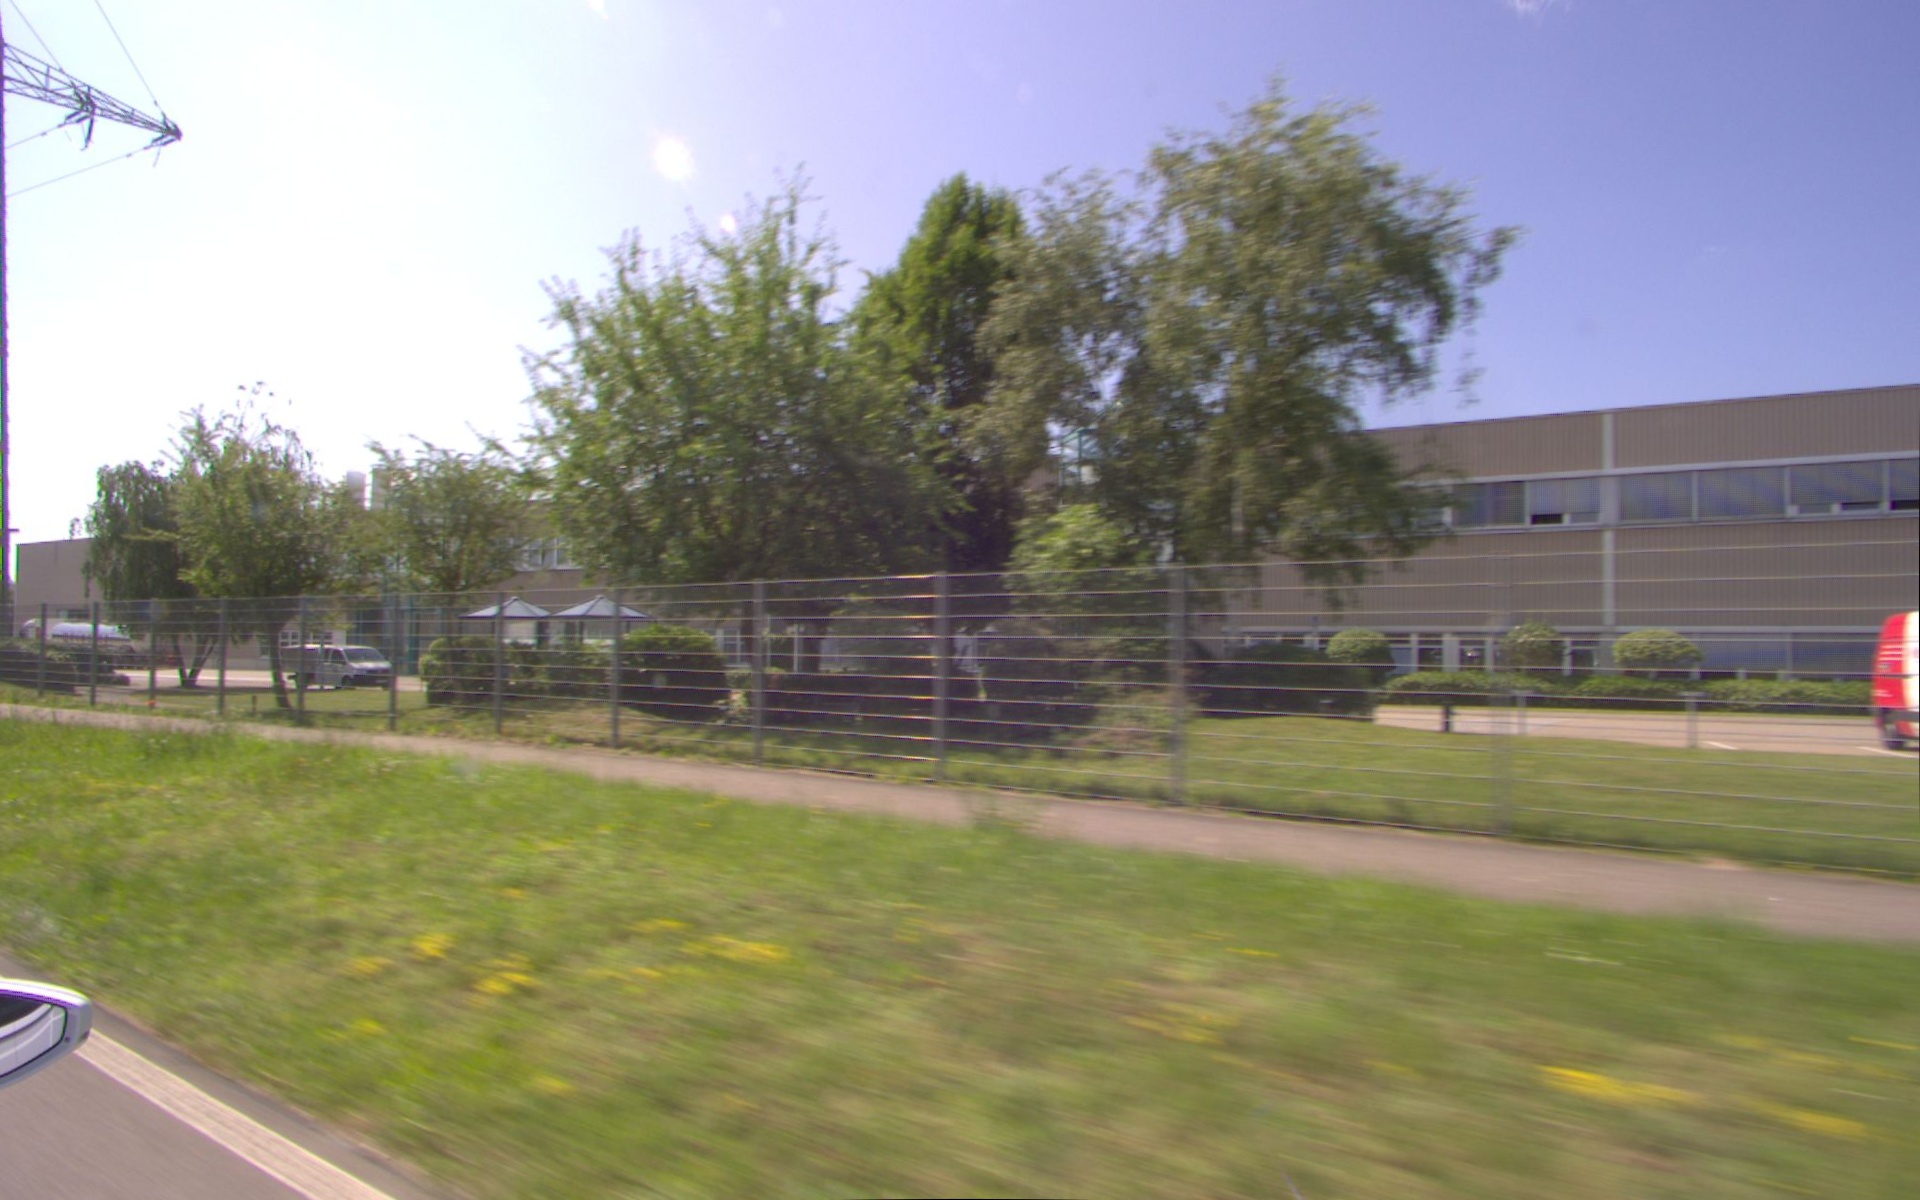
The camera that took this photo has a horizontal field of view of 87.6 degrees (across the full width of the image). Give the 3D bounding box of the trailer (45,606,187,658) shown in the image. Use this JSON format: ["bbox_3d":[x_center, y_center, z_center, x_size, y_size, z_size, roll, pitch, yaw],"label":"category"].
[{"bbox_3d":[-64.571,2.408,76.533,12.038,3.783,3.592,0,-1,25],"label":"trailer"}]

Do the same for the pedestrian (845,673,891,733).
[{"bbox_3d":[-1.458,1.626,15.958,0.502,0.904,0.666,0,-3,17],"label":"pedestrian"}]

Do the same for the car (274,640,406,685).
[{"bbox_3d":[-27.110,2.719,43.795,5.561,1.801,2.112,0,-3,24],"label":"car"}]

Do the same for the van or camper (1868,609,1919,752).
[{"bbox_3d":[17.849,1.369,16.946,1.967,2.547,5.781,0,-6,25],"label":"van or camper"}]

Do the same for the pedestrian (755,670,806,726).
[{"bbox_3d":[-3.032,1.647,16.915,0.657,0.904,0.510,-1,-3,31],"label":"pedestrian"}]
